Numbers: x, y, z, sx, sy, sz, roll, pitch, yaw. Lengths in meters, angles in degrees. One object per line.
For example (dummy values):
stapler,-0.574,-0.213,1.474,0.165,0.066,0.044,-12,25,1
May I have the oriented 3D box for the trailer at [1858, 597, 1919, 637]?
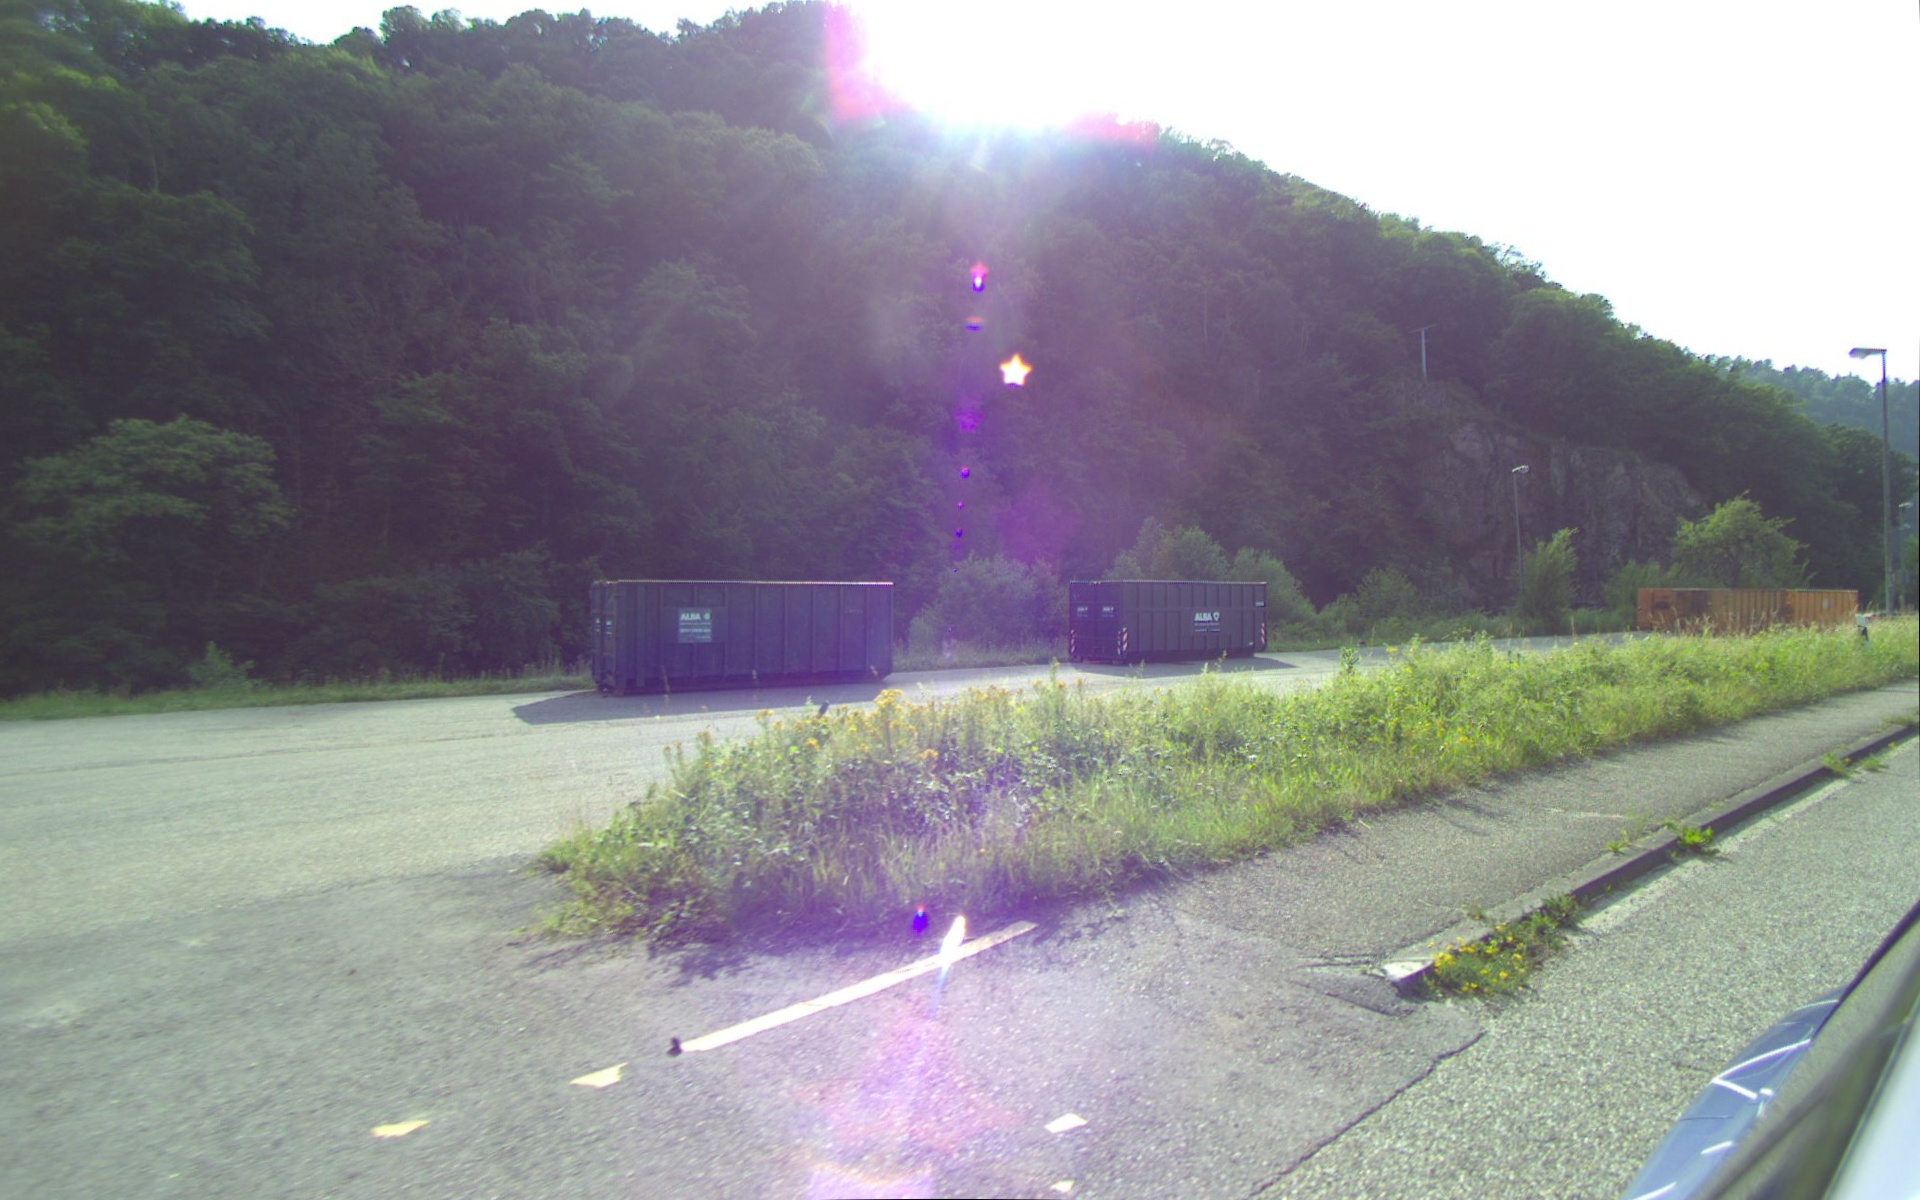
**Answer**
trailer,39.945,0.608,41.291,9.700,1.493,2.799,0,-3,-36
